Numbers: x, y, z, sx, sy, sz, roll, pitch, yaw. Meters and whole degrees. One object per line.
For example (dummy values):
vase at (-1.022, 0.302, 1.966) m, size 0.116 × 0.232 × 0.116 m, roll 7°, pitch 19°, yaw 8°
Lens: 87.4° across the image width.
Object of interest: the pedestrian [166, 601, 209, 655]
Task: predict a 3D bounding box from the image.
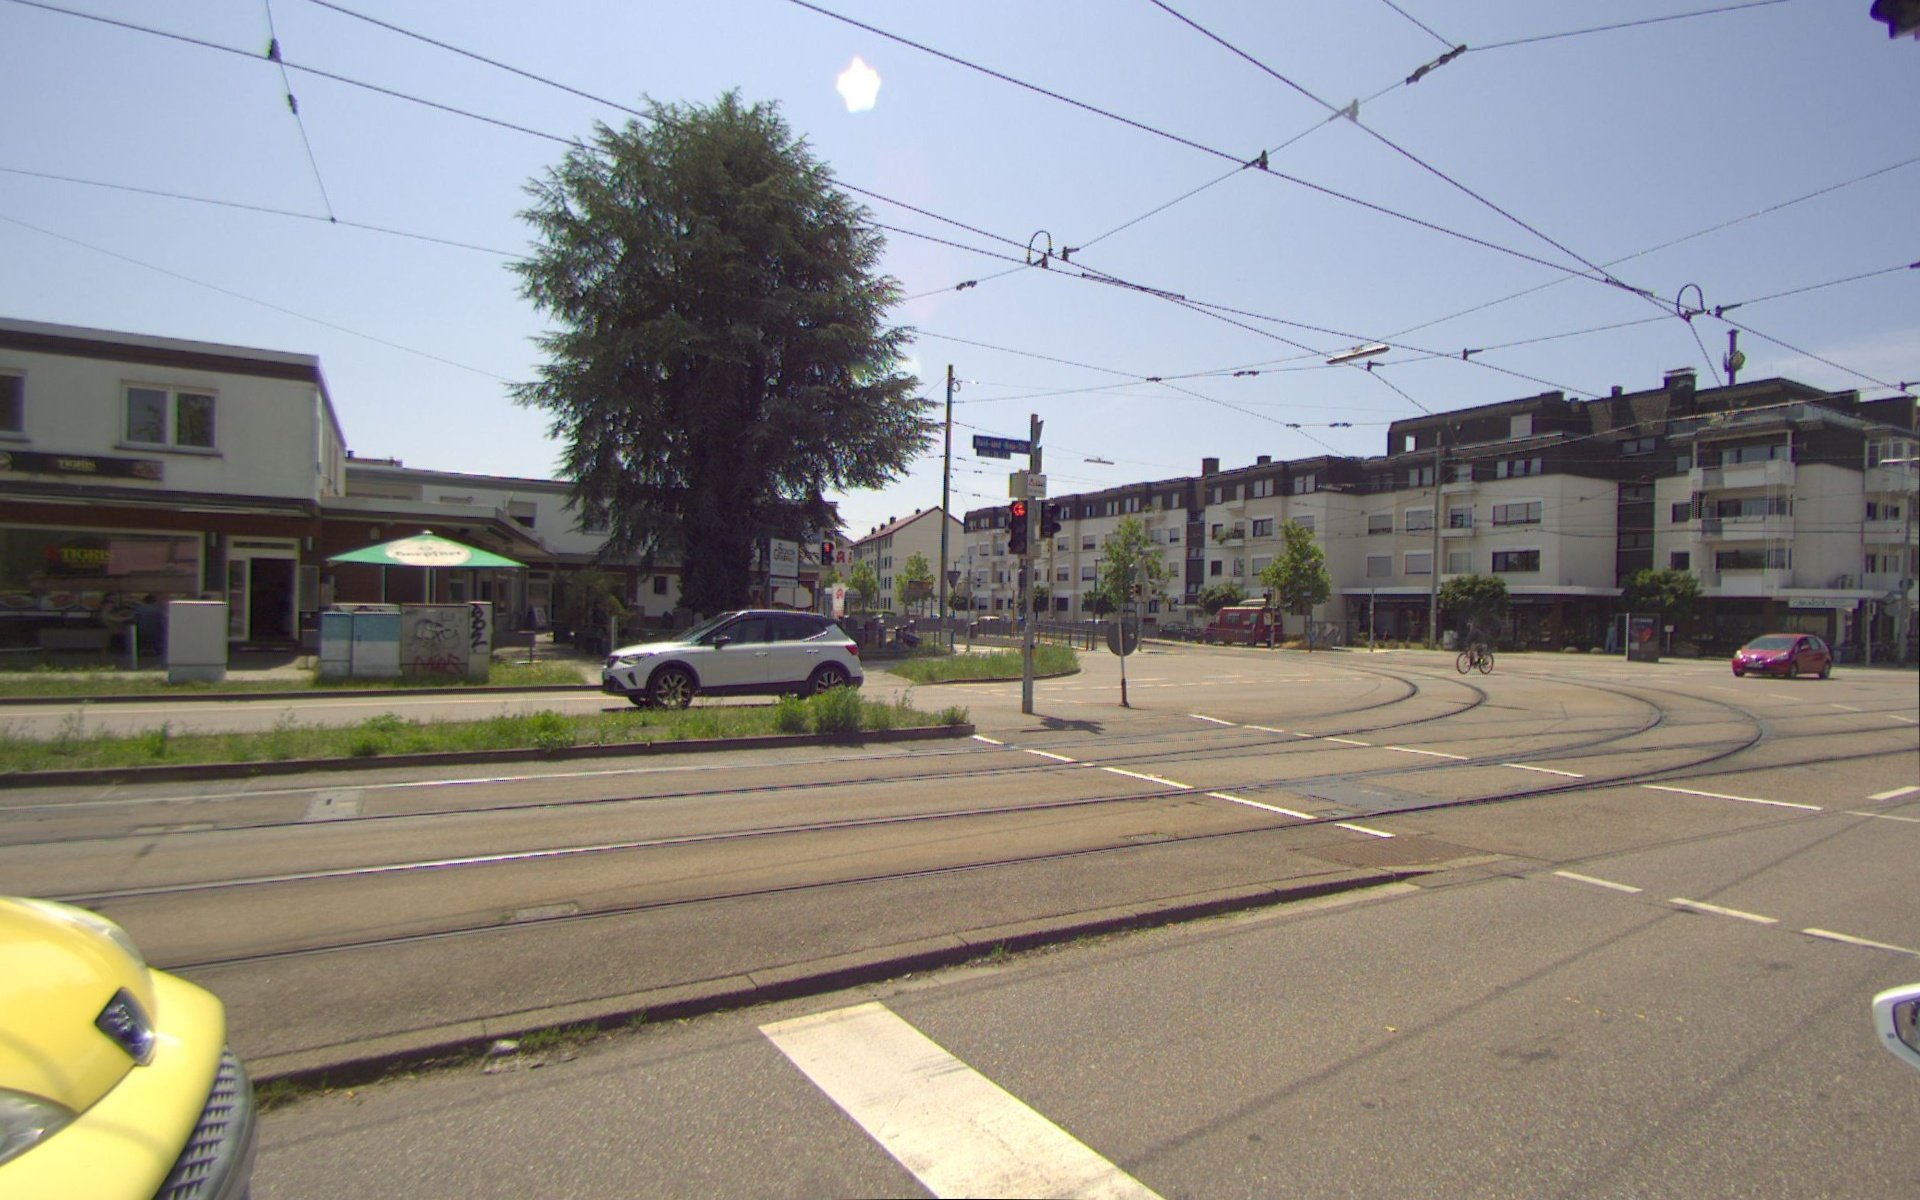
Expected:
pedestrian at (-17.513, 0.638, 22.787) m, size 0.666 × 1.215 × 0.515 m, roll 1°, pitch -1°, yaw -30°

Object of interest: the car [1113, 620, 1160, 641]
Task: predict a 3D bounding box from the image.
car at (12.873, 2.218, 73.387) m, size 1.571 × 1.452 × 3.555 m, roll 1°, pitch -1°, yaw -28°

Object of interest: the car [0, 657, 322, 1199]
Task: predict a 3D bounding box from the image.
car at (-2.907, 0.782, 1.098) m, size 3.613 × 1.439 × 1.608 m, roll 2°, pitch -4°, yaw -31°

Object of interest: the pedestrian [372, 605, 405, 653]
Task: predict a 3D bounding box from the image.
pedestrian at (-14.006, 0.709, 24.614) m, size 0.666 × 1.142 × 0.515 m, roll 1°, pitch -1°, yaw -30°

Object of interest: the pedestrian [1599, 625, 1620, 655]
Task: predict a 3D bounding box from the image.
pedestrian at (36.858, 2.270, 57.021) m, size 0.798 × 1.719 × 0.696 m, roll 1°, pitch -1°, yaw -29°

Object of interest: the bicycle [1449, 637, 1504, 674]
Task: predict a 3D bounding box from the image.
bicycle at (16.899, 1.798, 32.865) m, size 1.909 × 1.164 × 0.691 m, roll 0°, pitch 0°, yaw -31°

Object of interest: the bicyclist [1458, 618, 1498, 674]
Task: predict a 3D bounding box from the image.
bicyclist at (16.956, 1.486, 32.888) m, size 1.124 × 1.789 × 0.691 m, roll 0°, pitch 0°, yaw -31°

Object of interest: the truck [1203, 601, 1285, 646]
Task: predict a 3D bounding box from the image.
truck at (17.998, 1.470, 63.926) m, size 2.160 × 2.734 × 5.005 m, roll 1°, pitch -1°, yaw -29°

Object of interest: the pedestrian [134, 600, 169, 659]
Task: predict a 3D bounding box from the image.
pedestrian at (-17.706, 0.644, 22.011) m, size 0.485 × 1.255 × 0.572 m, roll 1°, pitch -1°, yaw -30°

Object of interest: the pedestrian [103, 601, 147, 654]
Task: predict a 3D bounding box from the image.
pedestrian at (-18.985, 0.628, 22.841) m, size 0.666 × 1.179 × 0.515 m, roll 1°, pitch -1°, yaw -30°

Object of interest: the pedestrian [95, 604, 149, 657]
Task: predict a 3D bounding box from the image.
pedestrian at (-18.526, 0.675, 22.222) m, size 0.801 × 1.142 × 0.562 m, roll 1°, pitch -1°, yaw -30°

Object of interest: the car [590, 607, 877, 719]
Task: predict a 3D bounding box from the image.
car at (-3.605, 0.949, 16.142) m, size 4.093 × 1.573 × 1.983 m, roll 2°, pitch -1°, yaw -32°

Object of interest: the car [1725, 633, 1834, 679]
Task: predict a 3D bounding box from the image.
car at (28.785, 1.941, 35.277) m, size 3.781 × 1.503 × 1.618 m, roll 2°, pitch -1°, yaw -28°

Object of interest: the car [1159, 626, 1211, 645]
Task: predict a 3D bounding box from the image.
car at (15.486, 2.426, 69.220) m, size 1.571 × 1.235 × 3.555 m, roll 1°, pitch -1°, yaw -28°
